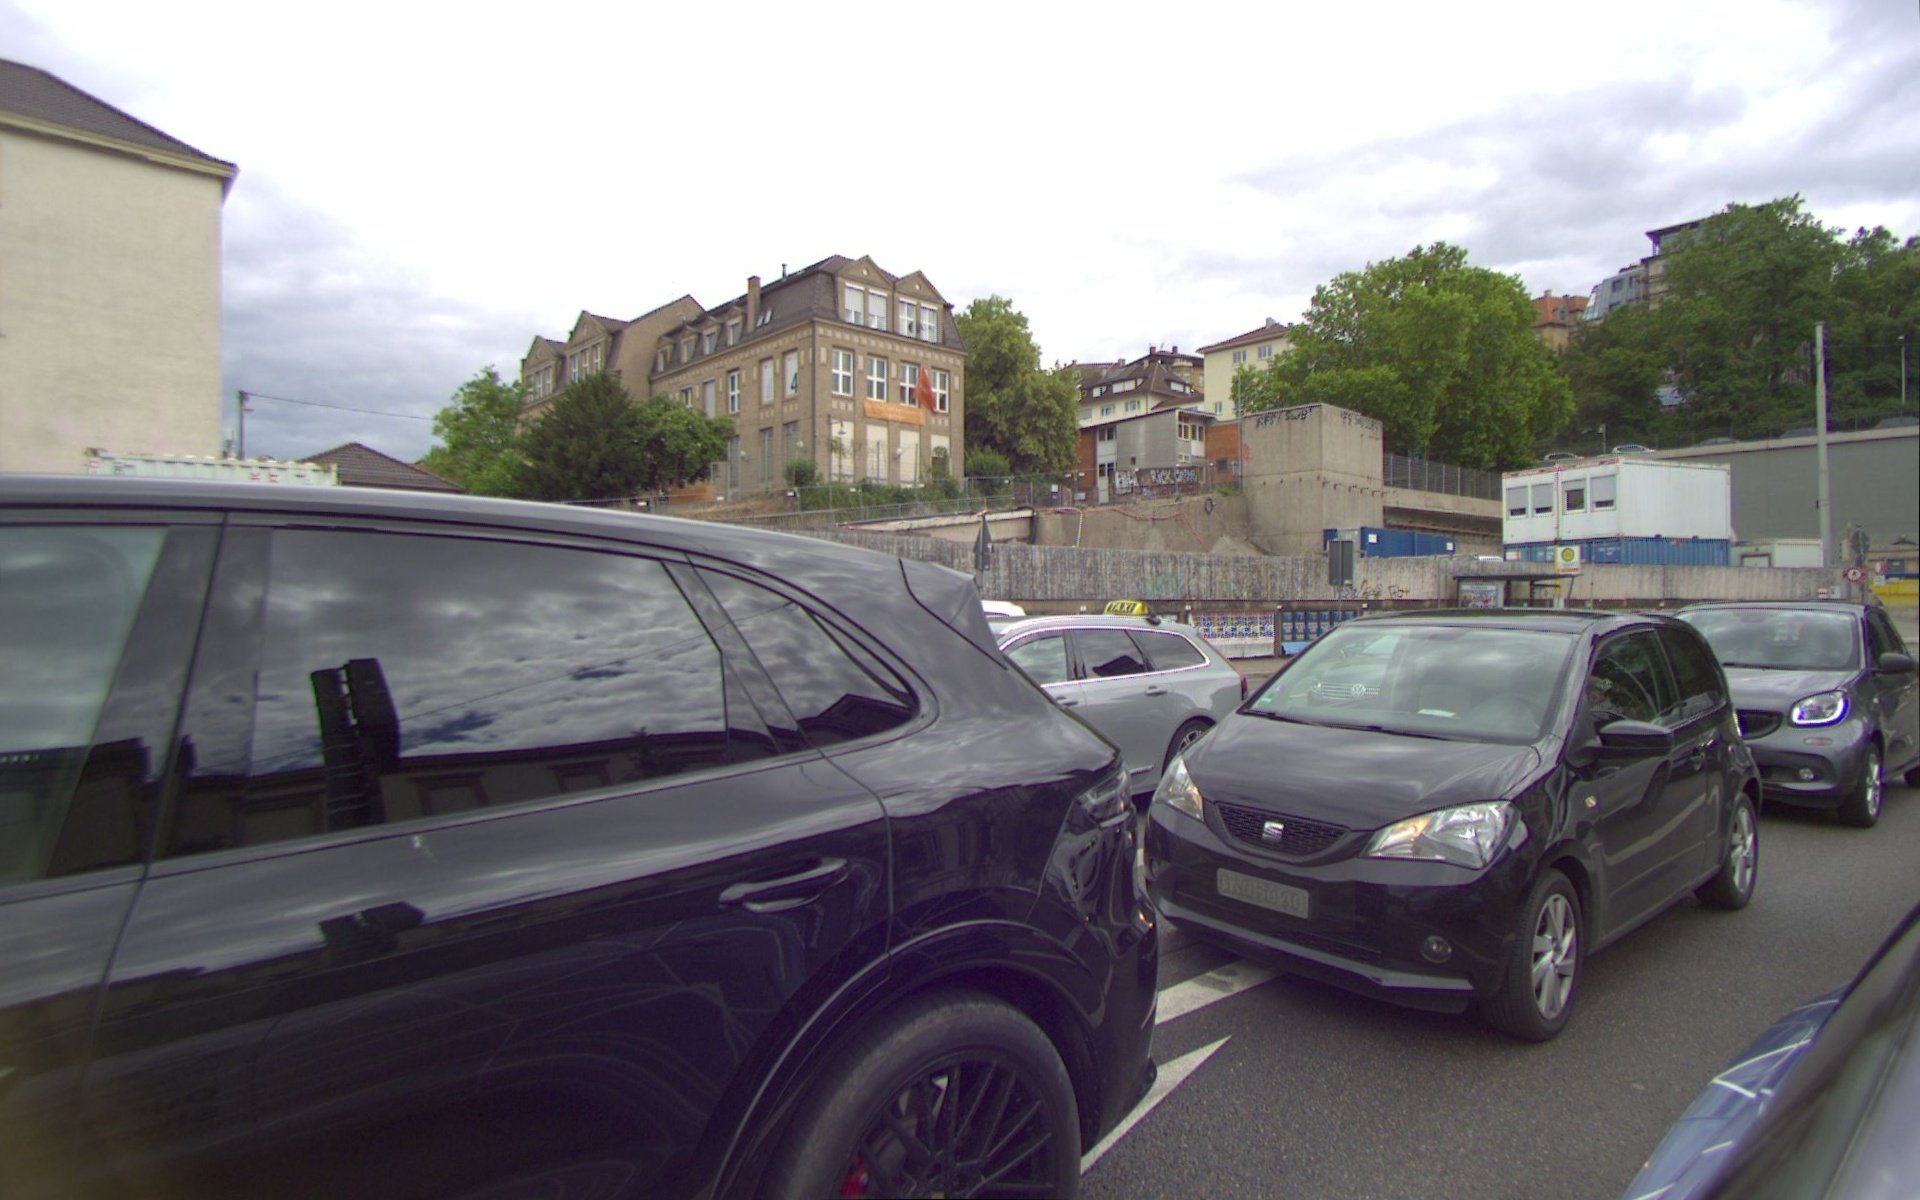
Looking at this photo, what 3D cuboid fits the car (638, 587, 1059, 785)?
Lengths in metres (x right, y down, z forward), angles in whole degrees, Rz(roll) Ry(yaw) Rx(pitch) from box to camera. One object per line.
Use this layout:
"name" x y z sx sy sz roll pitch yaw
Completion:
"car" -1.007 0.702 10.478 4.136 1.645 1.679 -1 0 -41

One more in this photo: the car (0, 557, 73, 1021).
"car" -5.304 0.685 3.039 3.930 1.645 1.679 -1 0 -41

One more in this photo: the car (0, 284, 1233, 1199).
"car" -1.622 0.557 1.600 4.406 1.736 1.827 -1 0 -41

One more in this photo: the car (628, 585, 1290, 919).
"car" 0.269 0.727 7.262 4.725 1.645 1.827 -1 0 -41

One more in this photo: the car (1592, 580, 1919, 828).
"car" 6.708 0.657 8.185 3.511 1.563 1.720 0 0 -40

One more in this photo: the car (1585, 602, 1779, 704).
"car" 11.507 0.742 16.055 3.740 1.383 1.679 -1 0 -41

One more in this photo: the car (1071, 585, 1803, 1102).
"car" 2.436 0.675 4.791 3.636 1.476 1.827 -1 0 -41

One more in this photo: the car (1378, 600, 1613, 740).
"car" 6.488 0.742 12.206 2.667 1.449 1.664 -1 0 -41
